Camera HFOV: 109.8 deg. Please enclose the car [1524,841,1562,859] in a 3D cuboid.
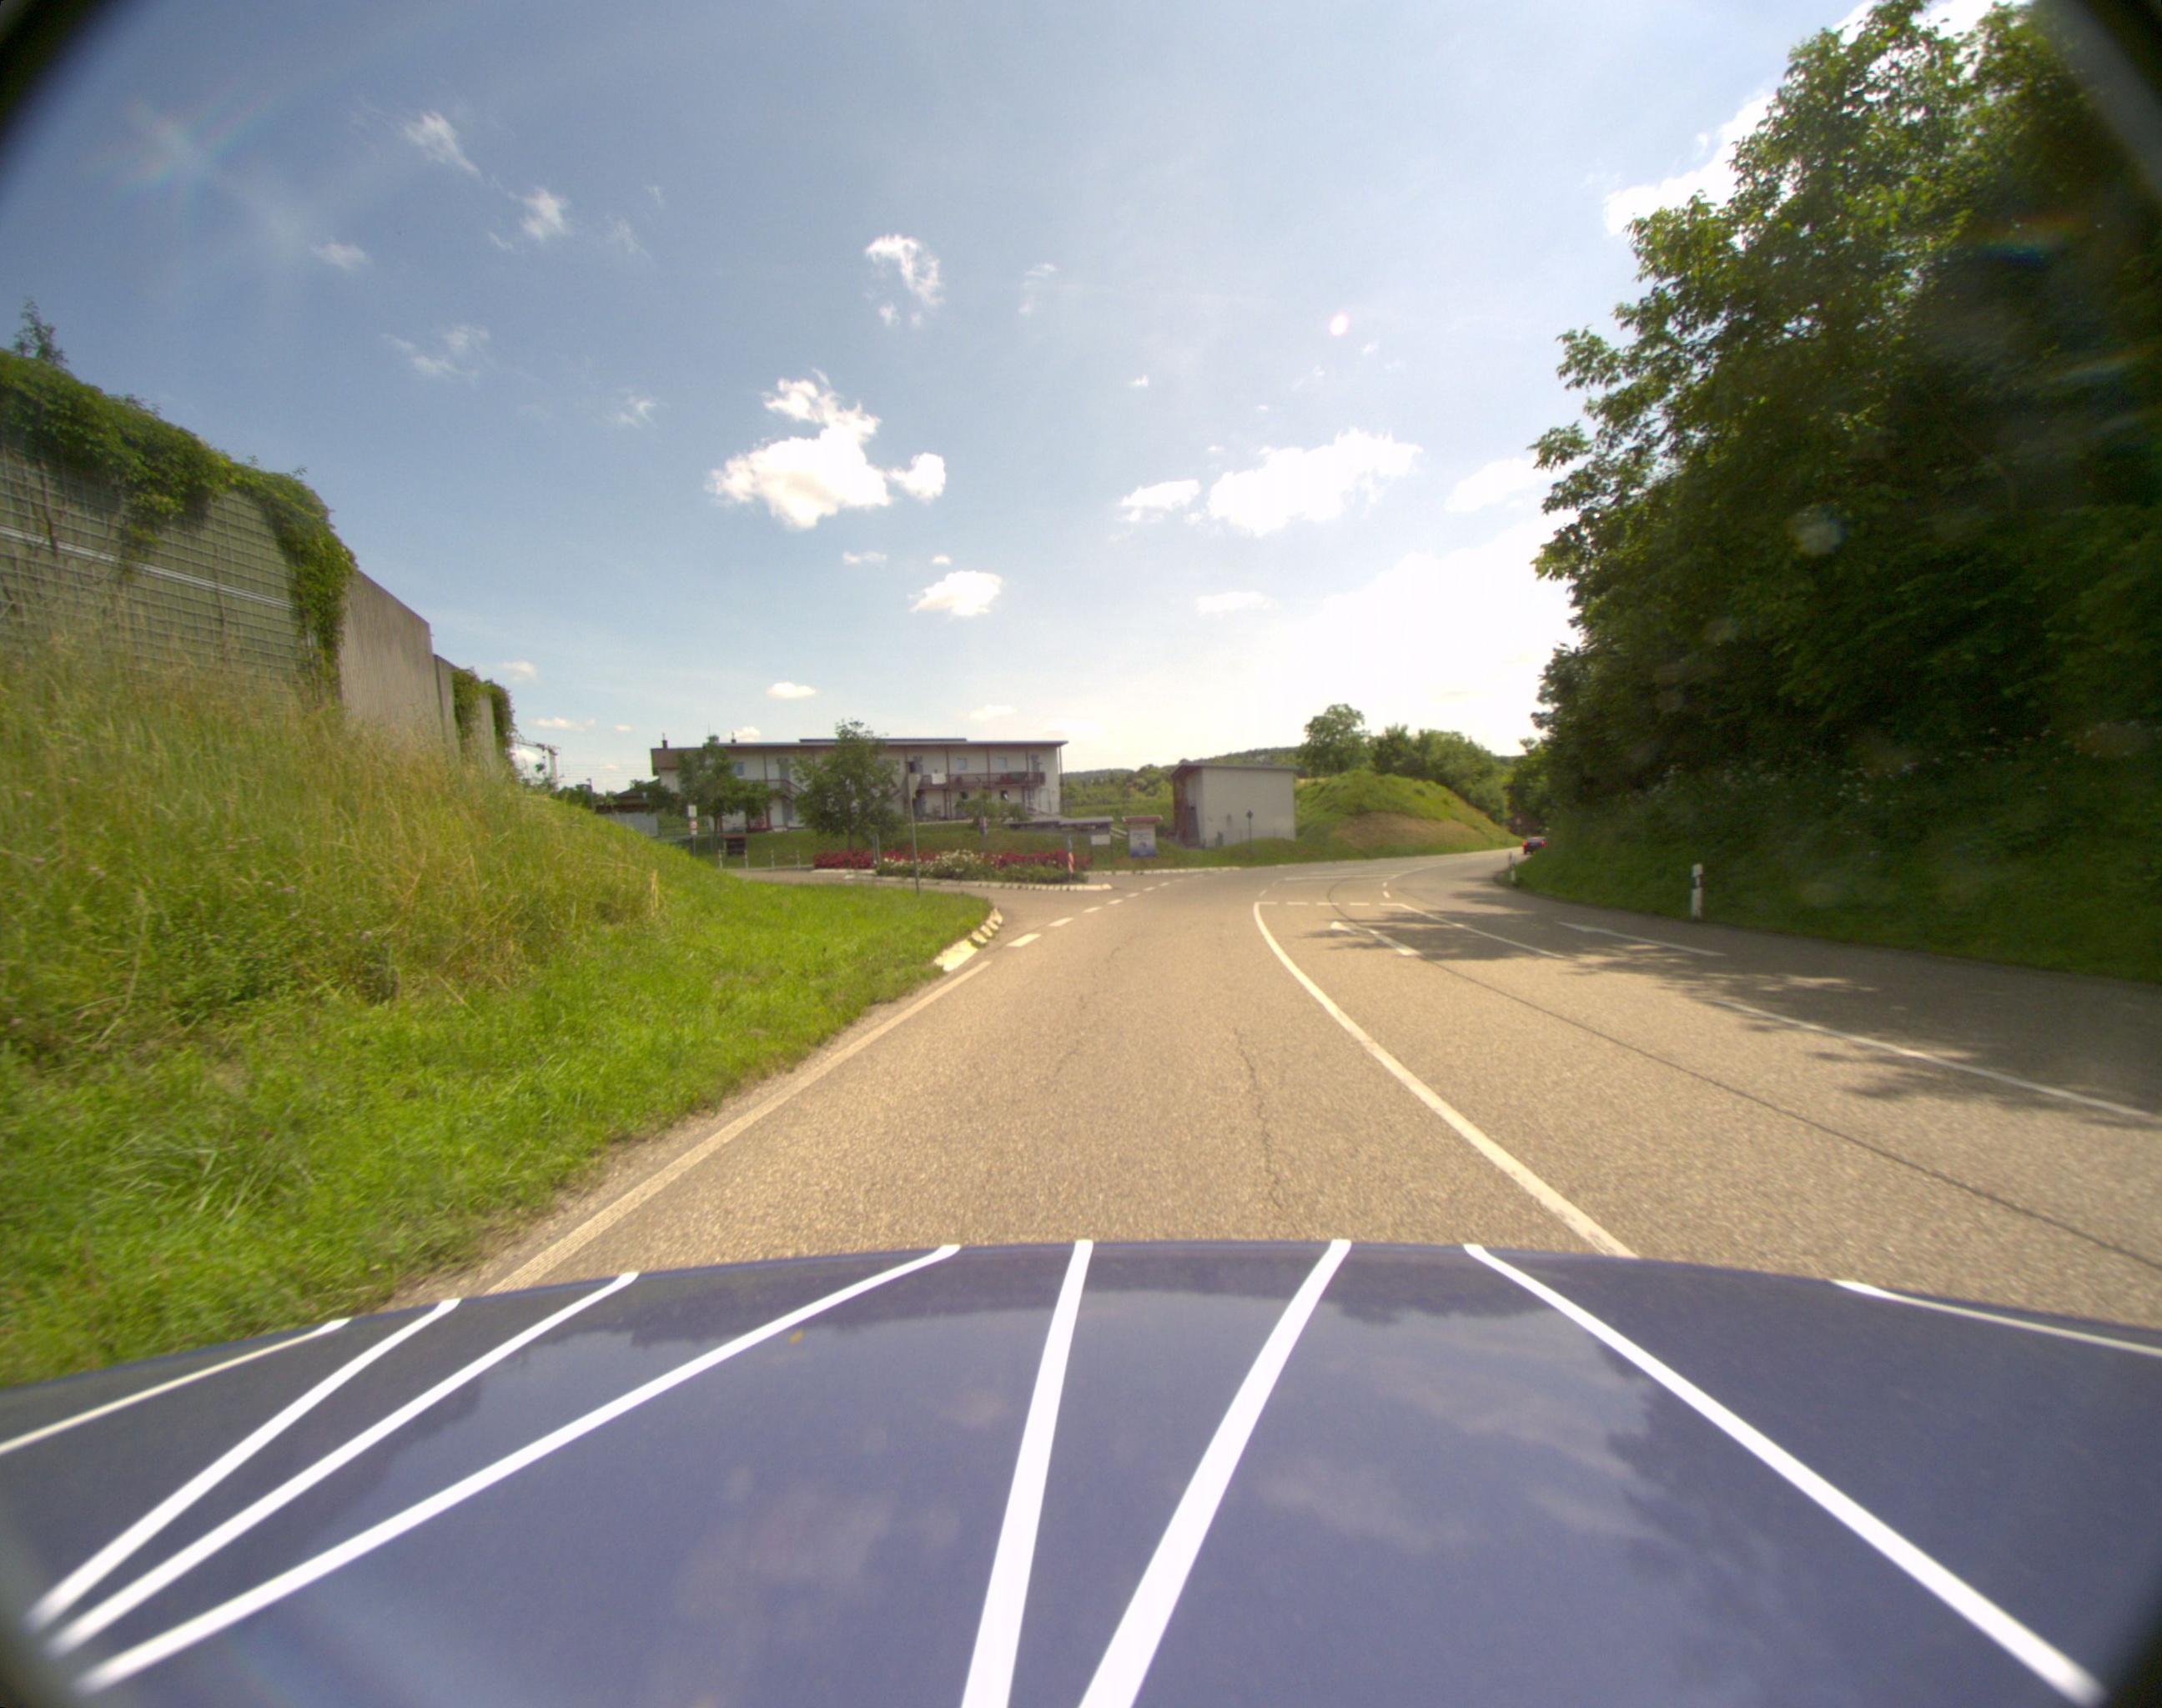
[{"bbox_3d":[38.828,-0.365,63.769,4.353,1.412,1.685,-1,3,-45],"label":"car"}]
